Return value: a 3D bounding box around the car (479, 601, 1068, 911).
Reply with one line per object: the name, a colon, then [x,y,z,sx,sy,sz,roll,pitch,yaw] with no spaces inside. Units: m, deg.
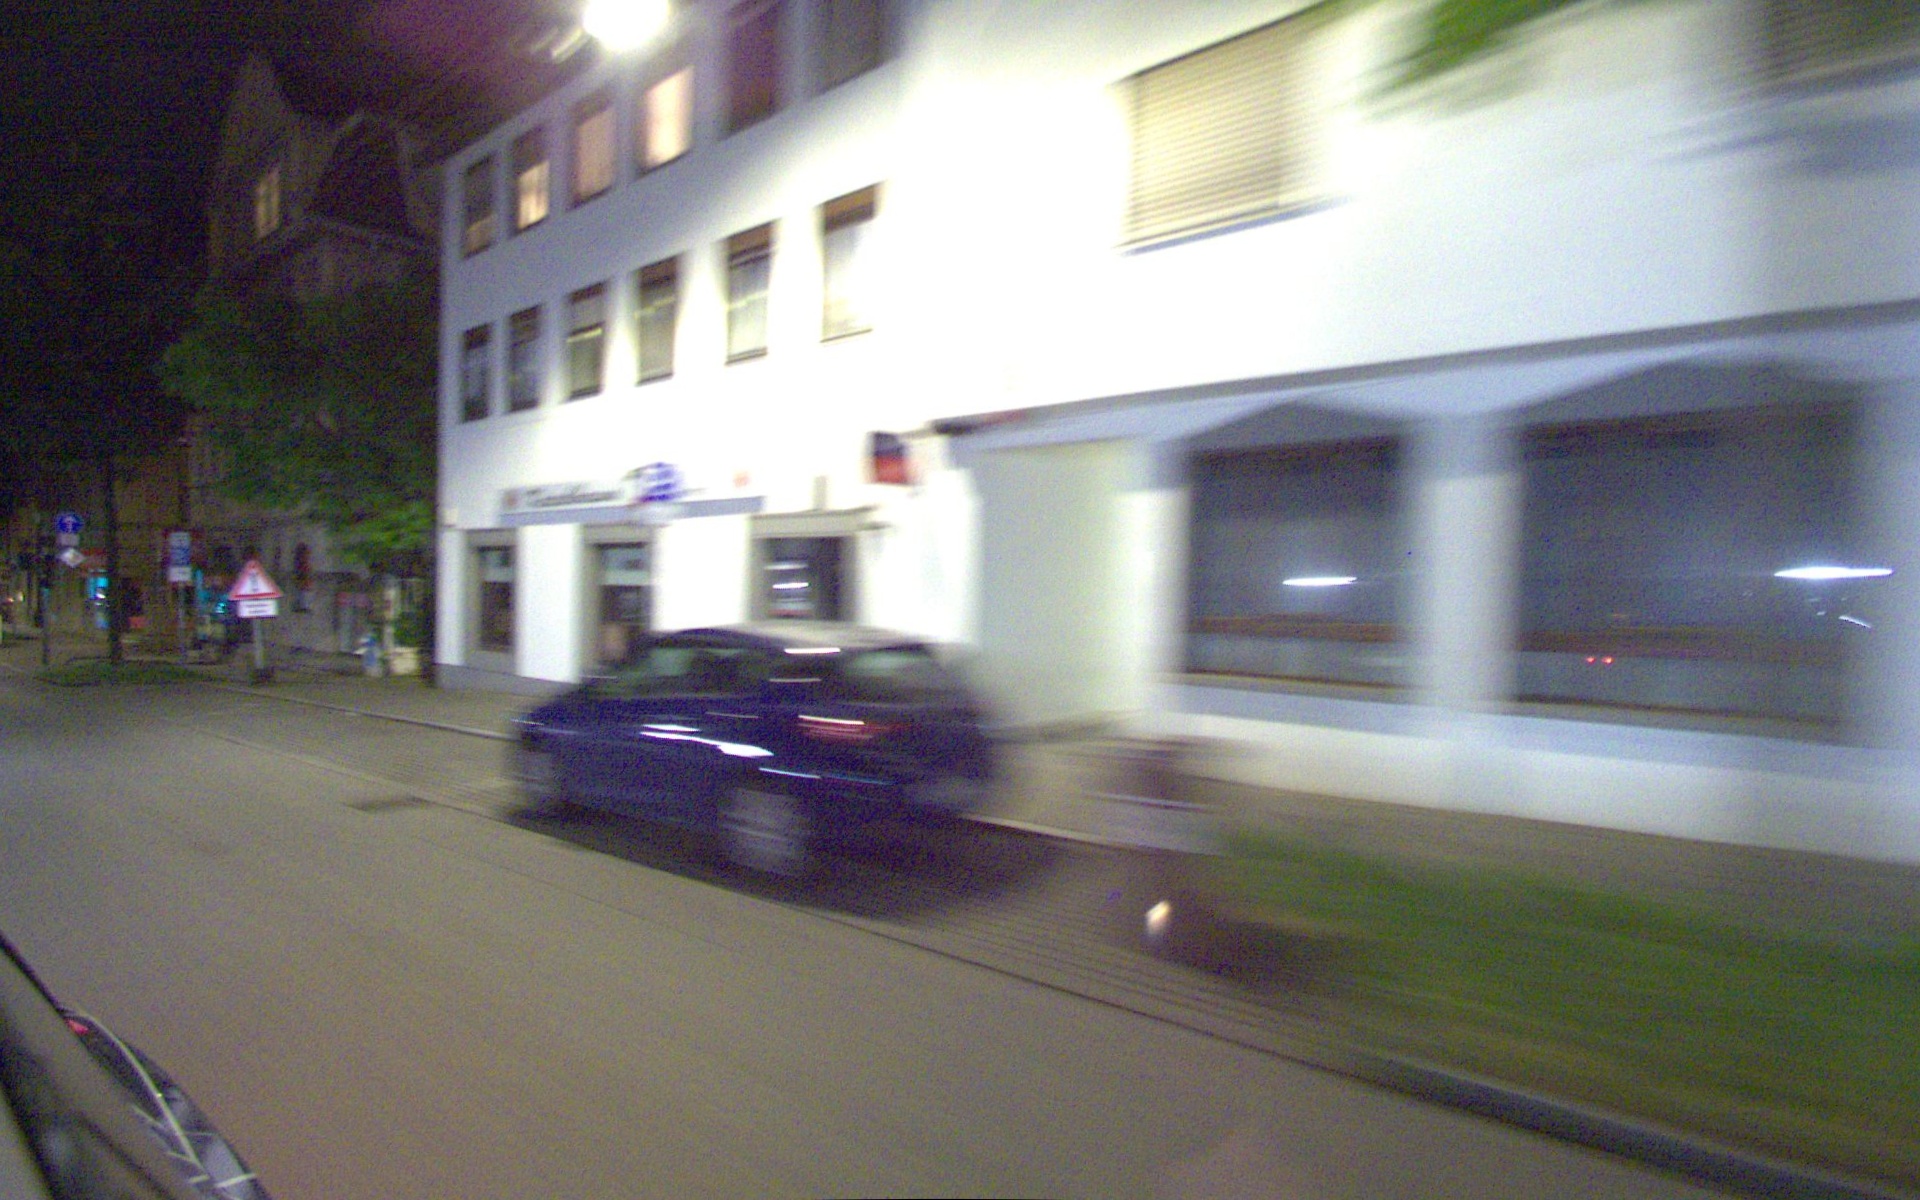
car: [-1.510,0.792,7.036,4.288,1.497,1.709,-1,0,41]
